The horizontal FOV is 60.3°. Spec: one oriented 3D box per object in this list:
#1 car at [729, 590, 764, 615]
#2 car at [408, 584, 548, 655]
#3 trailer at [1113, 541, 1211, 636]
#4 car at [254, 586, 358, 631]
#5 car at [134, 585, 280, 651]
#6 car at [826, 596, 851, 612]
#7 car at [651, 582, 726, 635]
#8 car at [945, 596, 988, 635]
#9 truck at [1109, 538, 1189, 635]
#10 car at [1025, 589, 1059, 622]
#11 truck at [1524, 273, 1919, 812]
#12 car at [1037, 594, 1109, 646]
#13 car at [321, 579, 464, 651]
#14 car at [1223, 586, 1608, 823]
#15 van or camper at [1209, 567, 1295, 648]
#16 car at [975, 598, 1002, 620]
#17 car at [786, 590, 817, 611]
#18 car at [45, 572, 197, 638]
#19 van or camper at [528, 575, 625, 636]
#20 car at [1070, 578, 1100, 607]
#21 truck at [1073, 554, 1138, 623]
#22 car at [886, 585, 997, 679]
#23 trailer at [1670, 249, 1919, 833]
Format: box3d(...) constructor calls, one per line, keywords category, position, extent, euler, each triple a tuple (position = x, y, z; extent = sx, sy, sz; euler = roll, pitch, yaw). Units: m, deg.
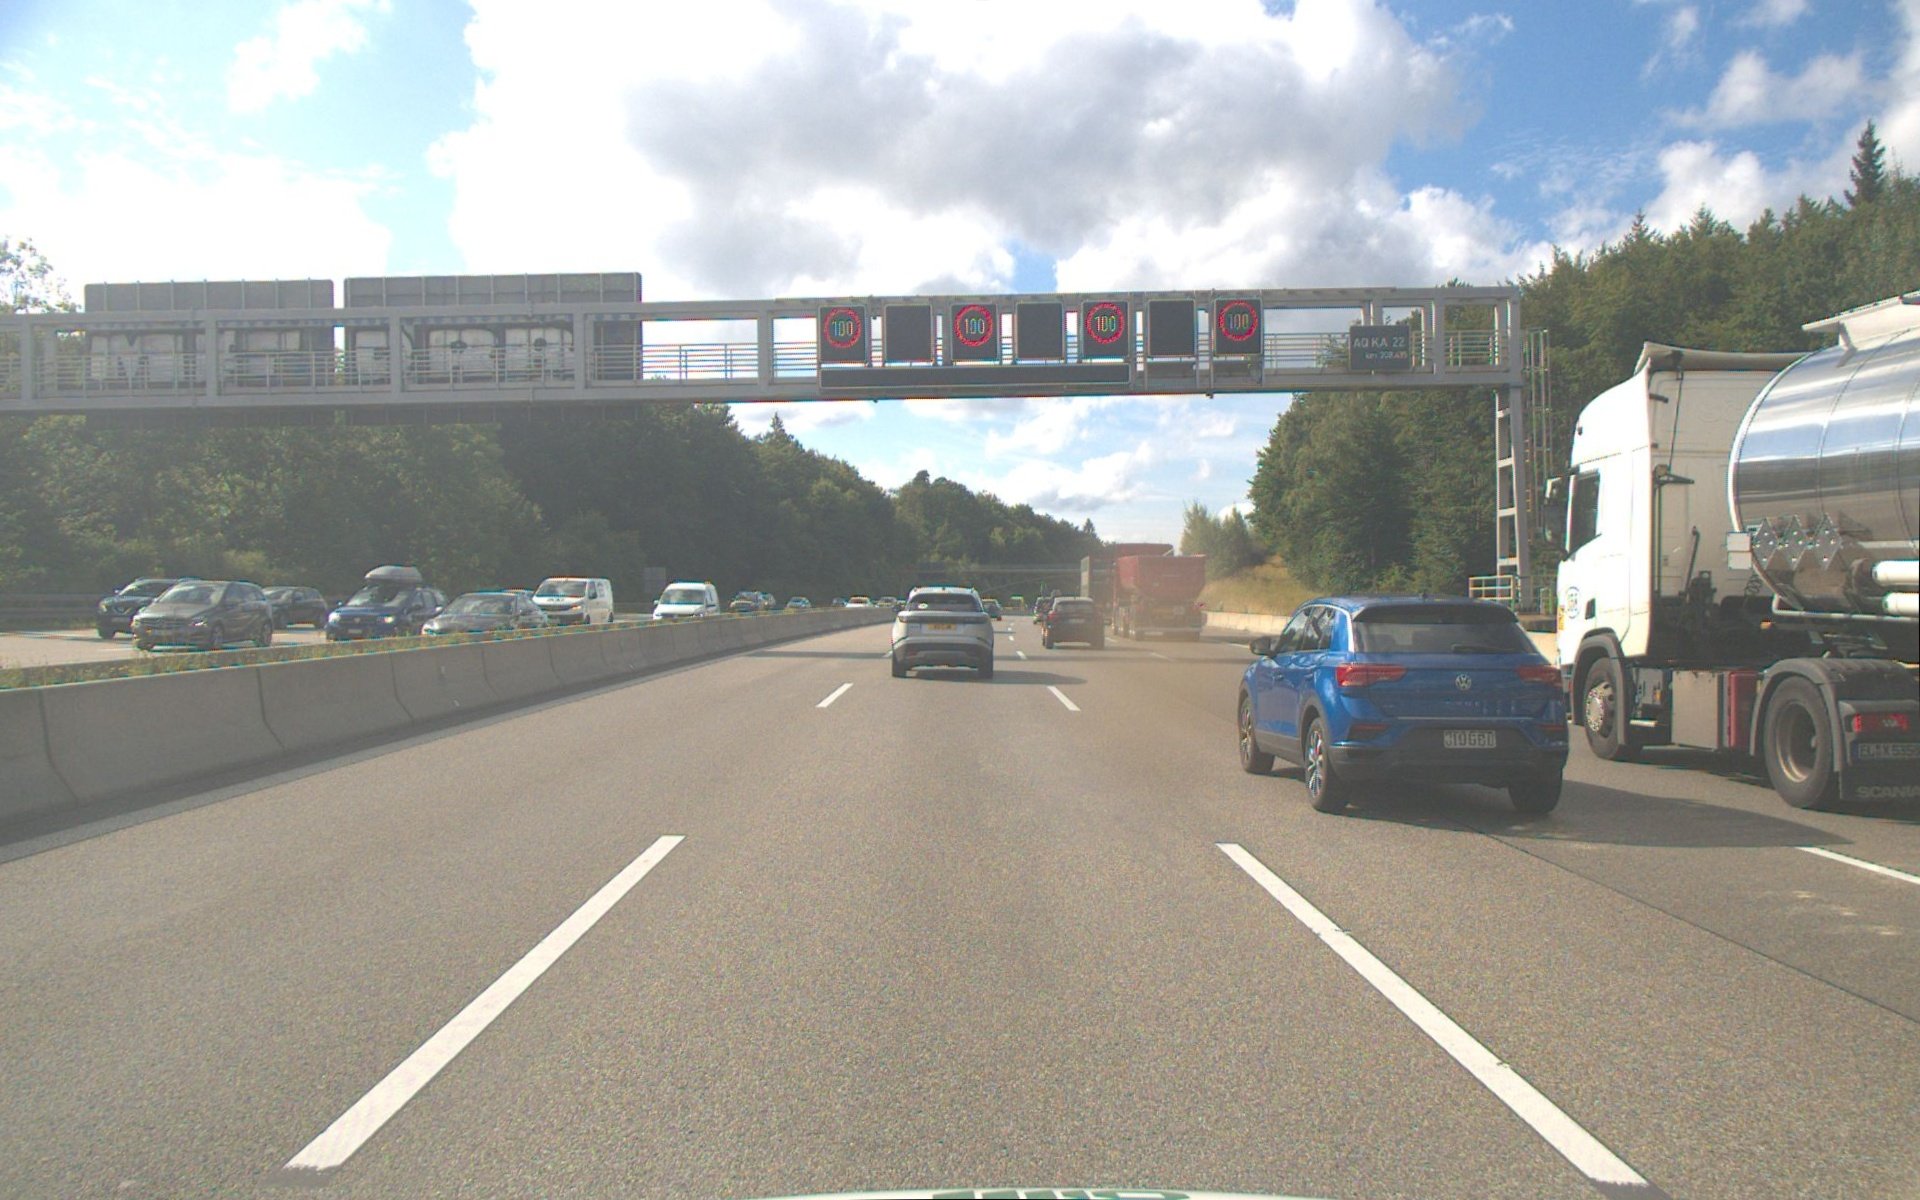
box3d(category="car", position=(-14.575, 0.173, 113.107), extent=(1.631, 1.668, 4.481), euler=(1, 0, 3))
box3d(category="car", position=(-10.227, 0.380, 35.410), extent=(1.757, 1.399, 4.547), euler=(1, 0, -2))
box3d(category="trailer", position=(7.548, -0.424, 62.991), extent=(2.654, 3.288, 9.733), euler=(1, 0, 1))
box3d(category="car", position=(-22.463, 0.281, 56.994), extent=(1.666, 1.466, 4.707), euler=(1, 0, 0))
box3d(category="car", position=(-17.441, 0.394, 38.508), extent=(1.604, 1.440, 3.999), euler=(1, 0, -1))
box3d(category="car", position=(-13.152, 0.404, 179.179), extent=(1.887, 1.746, 4.426), euler=(1, 0, 7))
box3d(category="car", position=(-9.018, 0.268, 55.319), extent=(1.733, 1.678, 4.519), euler=(1, 0, 0))
box3d(category="car", position=(0.293, 0.647, 71.441), extent=(1.785, 1.573, 4.000), euler=(1, 0, 1))
box3d(category="truck", position=(7.647, -0.543, 67.680), extent=(2.654, 3.783, 5.818), euler=(1, 0, 1))
box3d(category="car", position=(4.842, 0.314, 97.856), extent=(1.854, 1.889, 4.101), euler=(1, 0, 1))
box3d(category="truck", position=(7.516, -0.433, 15.010), extent=(2.595, 3.890, 6.080), euler=(0, 0, -2))
box3d(category="car", position=(3.381, 0.573, 50.175), extent=(1.785, 1.483, 3.999), euler=(1, 0, -2))
box3d(category="car", position=(-13.214, 0.327, 38.806), extent=(1.663, 1.555, 4.685), euler=(1, 0, 1))
box3d(category="car", position=(3.378, 0.736, 13.192), extent=(1.737, 1.557, 4.456), euler=(0, -1, -2))
box3d(category="van or camper", position=(8.888, 0.221, 50.715), extent=(1.785, 2.348, 4.939), euler=(0, 0, 0))
box3d(category="car", position=(2.028, 0.625, 115.727), extent=(1.784, 1.483, 4.001), euler=(1, 0, 3))
box3d(category="car", position=(-13.417, 0.034, 140.416), extent=(1.888, 1.746, 4.425), euler=(1, 0, 4))
box3d(category="car", position=(-21.998, 0.119, 43.531), extent=(1.779, 1.641, 4.147), euler=(1, 0, 1))
box3d(category="van or camper", position=(-12.685, 0.165, 55.010), extent=(1.823, 1.882, 5.156), euler=(1, 0, 2))
box3d(category="car", position=(8.618, -0.508, 114.278), extent=(1.854, 1.889, 4.101), euler=(1, 0, 1))
box3d(category="truck", position=(8.830, -0.678, 101.345), extent=(3.054, 4.003, 10.411), euler=(1, 0, 0))
box3d(category="car", position=(-0.269, 0.559, 32.219), extent=(1.965, 1.644, 5.302), euler=(1, 0, 1))
box3d(category="trailer", position=(7.656, -0.382, 8.569), extent=(2.595, 3.833, 11.856), euler=(0, 0, -1))
